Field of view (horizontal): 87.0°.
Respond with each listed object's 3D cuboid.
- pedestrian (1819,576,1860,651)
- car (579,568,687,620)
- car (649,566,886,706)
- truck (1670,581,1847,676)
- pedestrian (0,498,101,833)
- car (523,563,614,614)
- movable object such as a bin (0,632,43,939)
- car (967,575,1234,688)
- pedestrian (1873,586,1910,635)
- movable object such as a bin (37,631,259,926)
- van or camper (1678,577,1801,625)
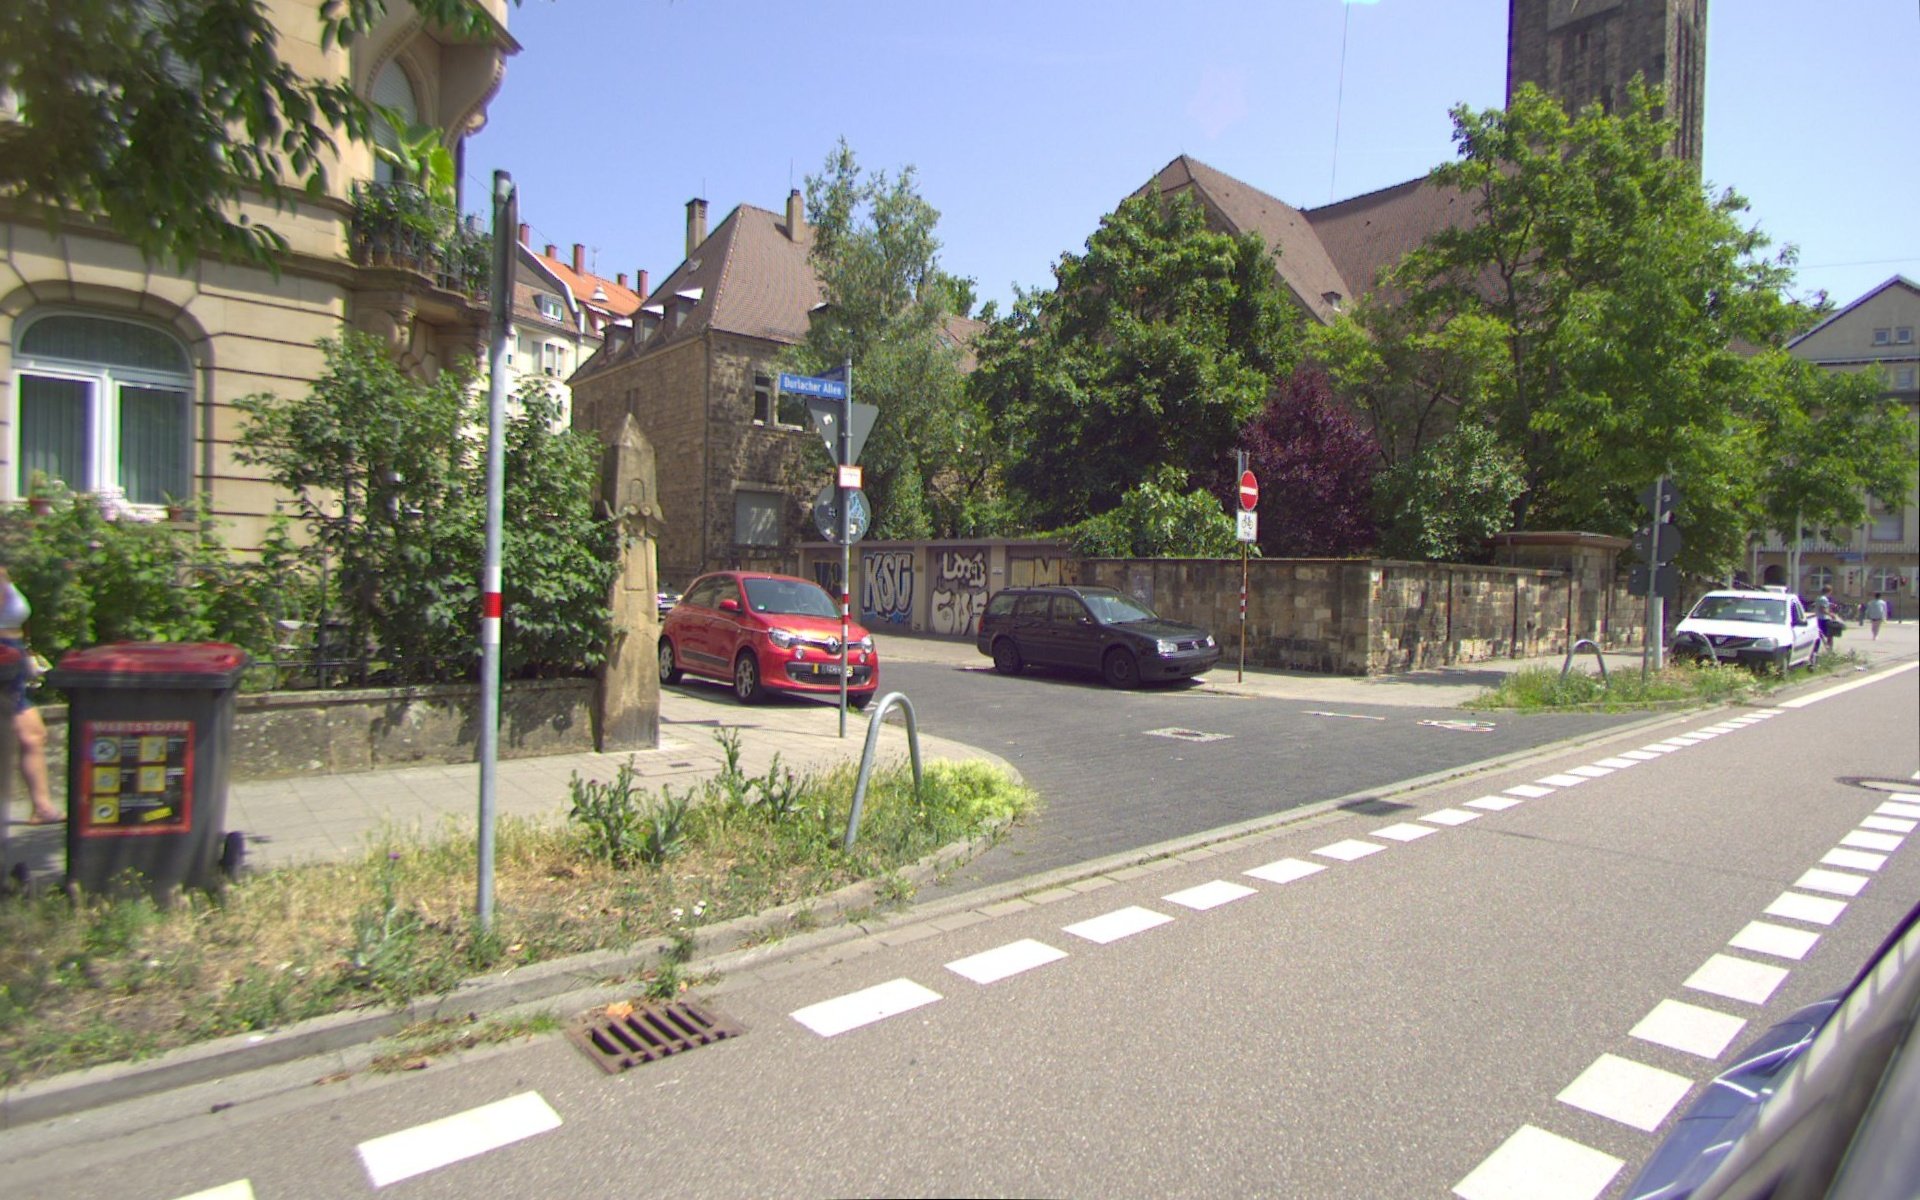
[{"bbox_3d":[21.166,0.311,24.357,0.666,1.777,0.622,1,0,-39],"label":"pedestrian"},{"bbox_3d":[-10.081,-0.238,31.058,1.751,1.390,3.995,-4,4,-40],"label":"car"},{"bbox_3d":[-2.545,0.341,12.803,1.526,1.510,3.461,0,1,-38],"label":"car"},{"bbox_3d":[15.004,0.454,18.930,4.387,1.545,1.793,0,2,-41],"label":"truck"},{"bbox_3d":[-4.819,0.311,5.094,0.714,1.618,0.553,1,0,-38],"label":"pedestrian"},{"bbox_3d":[-13.373,-0.432,34.467,1.751,1.575,3.649,-4,4,-40],"label":"car"},{"bbox_3d":[-3.839,0.678,3.797,0.486,1.075,0.672,1,0,-34],"label":"movable object such as a bin"},{"bbox_3d":[2.136,0.405,16.367,1.645,1.510,4.188,0,2,-42],"label":"car"},{"bbox_3d":[32.170,0.348,34.968,0.949,1.671,0.796,0,0,-39],"label":"pedestrian"},{"bbox_3d":[-3.302,0.665,4.184,0.637,1.026,0.790,1,0,-34],"label":"movable object such as a bin"},{"bbox_3d":[34.488,0.025,44.864,1.771,1.848,3.995,4,1,-41],"label":"van or camper"}]
